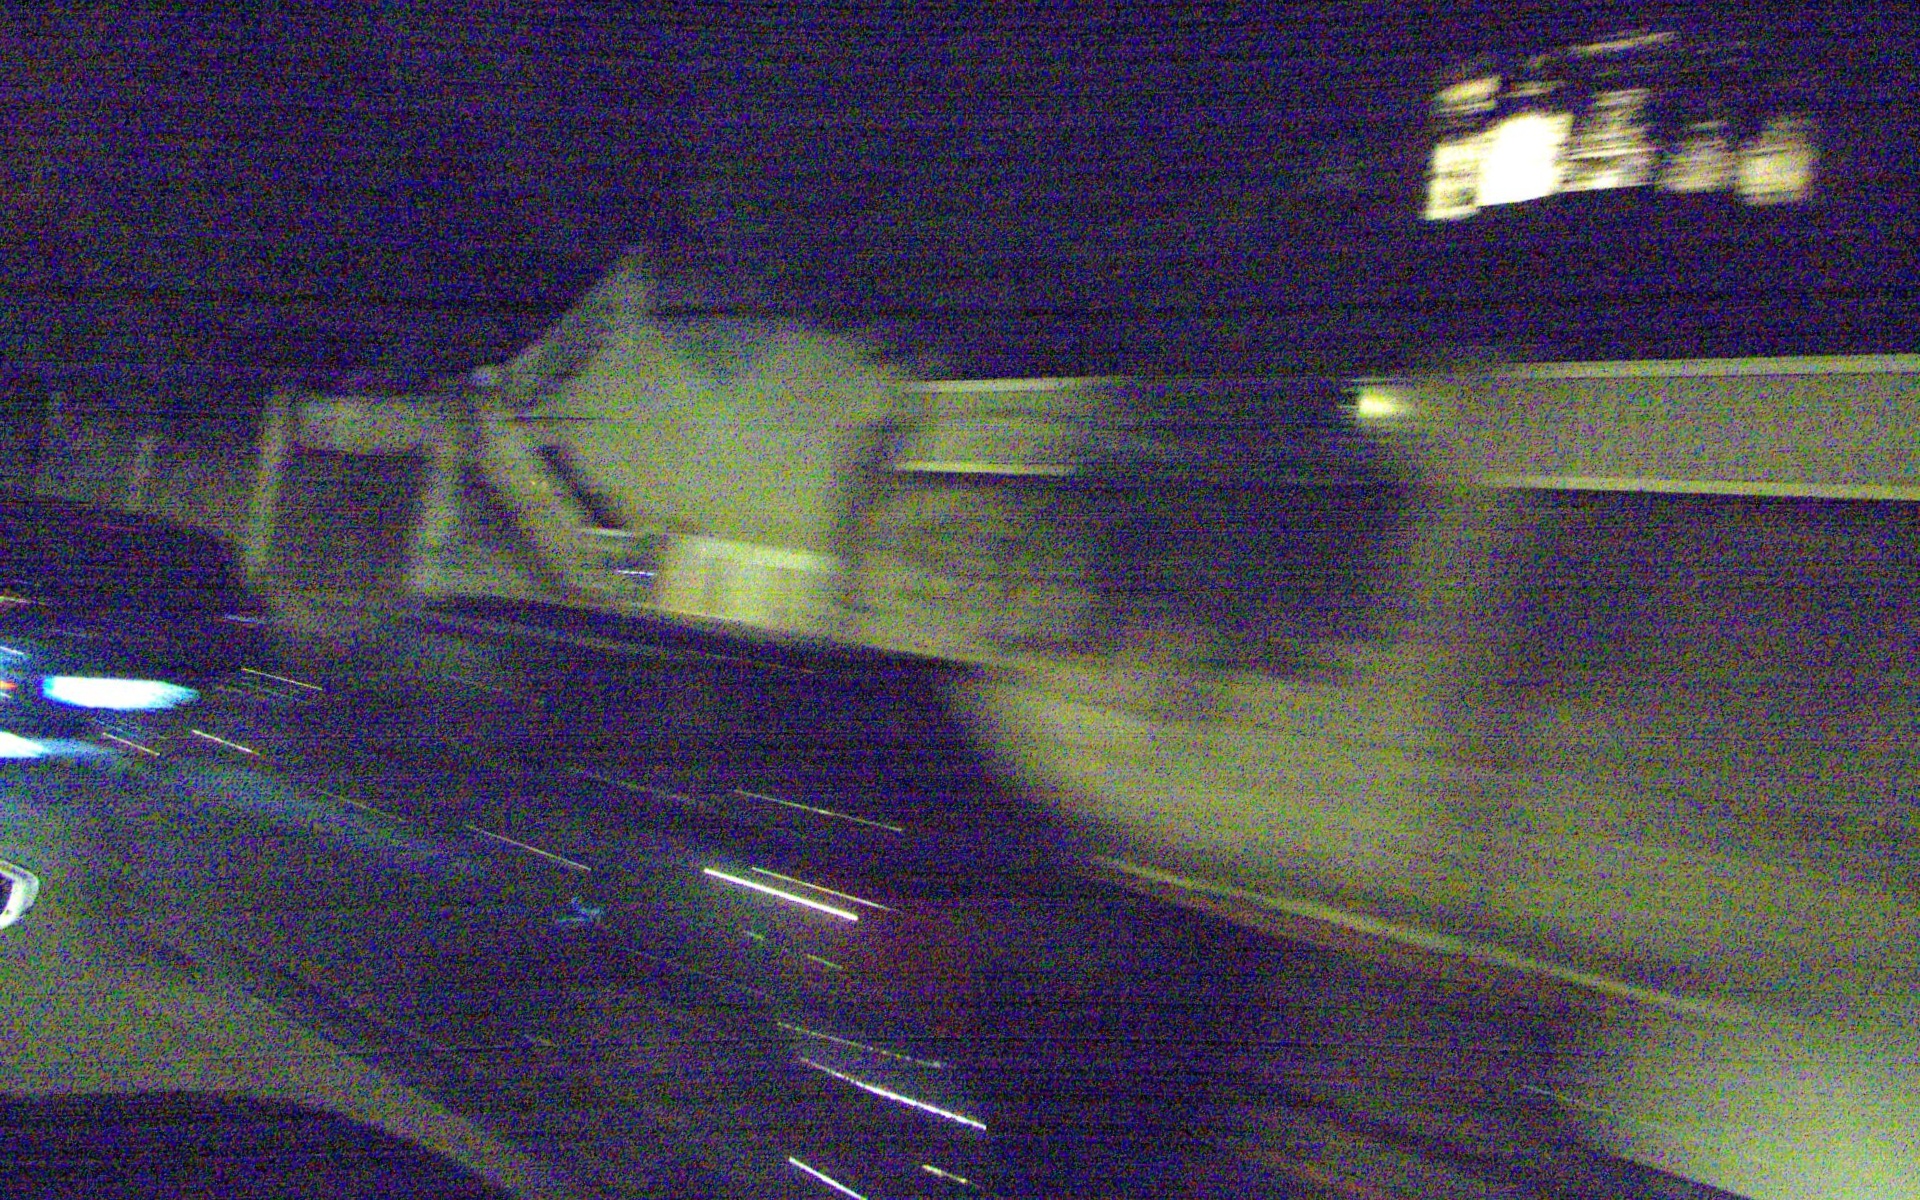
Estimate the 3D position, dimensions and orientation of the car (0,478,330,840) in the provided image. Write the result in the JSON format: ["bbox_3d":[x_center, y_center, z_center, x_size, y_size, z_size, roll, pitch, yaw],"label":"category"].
[{"bbox_3d":[-6.108,0.150,6.302,4.545,1.683,1.834,5,-2,34],"label":"car"}]

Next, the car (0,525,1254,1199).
[{"bbox_3d":[-1.380,0.752,3.494,4.185,1.487,1.748,6,-3,31],"label":"car"}]

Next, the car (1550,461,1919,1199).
[{"bbox_3d":[3.227,1.025,0.765,4.679,1.781,1.722,7,-2,32],"label":"car"}]
